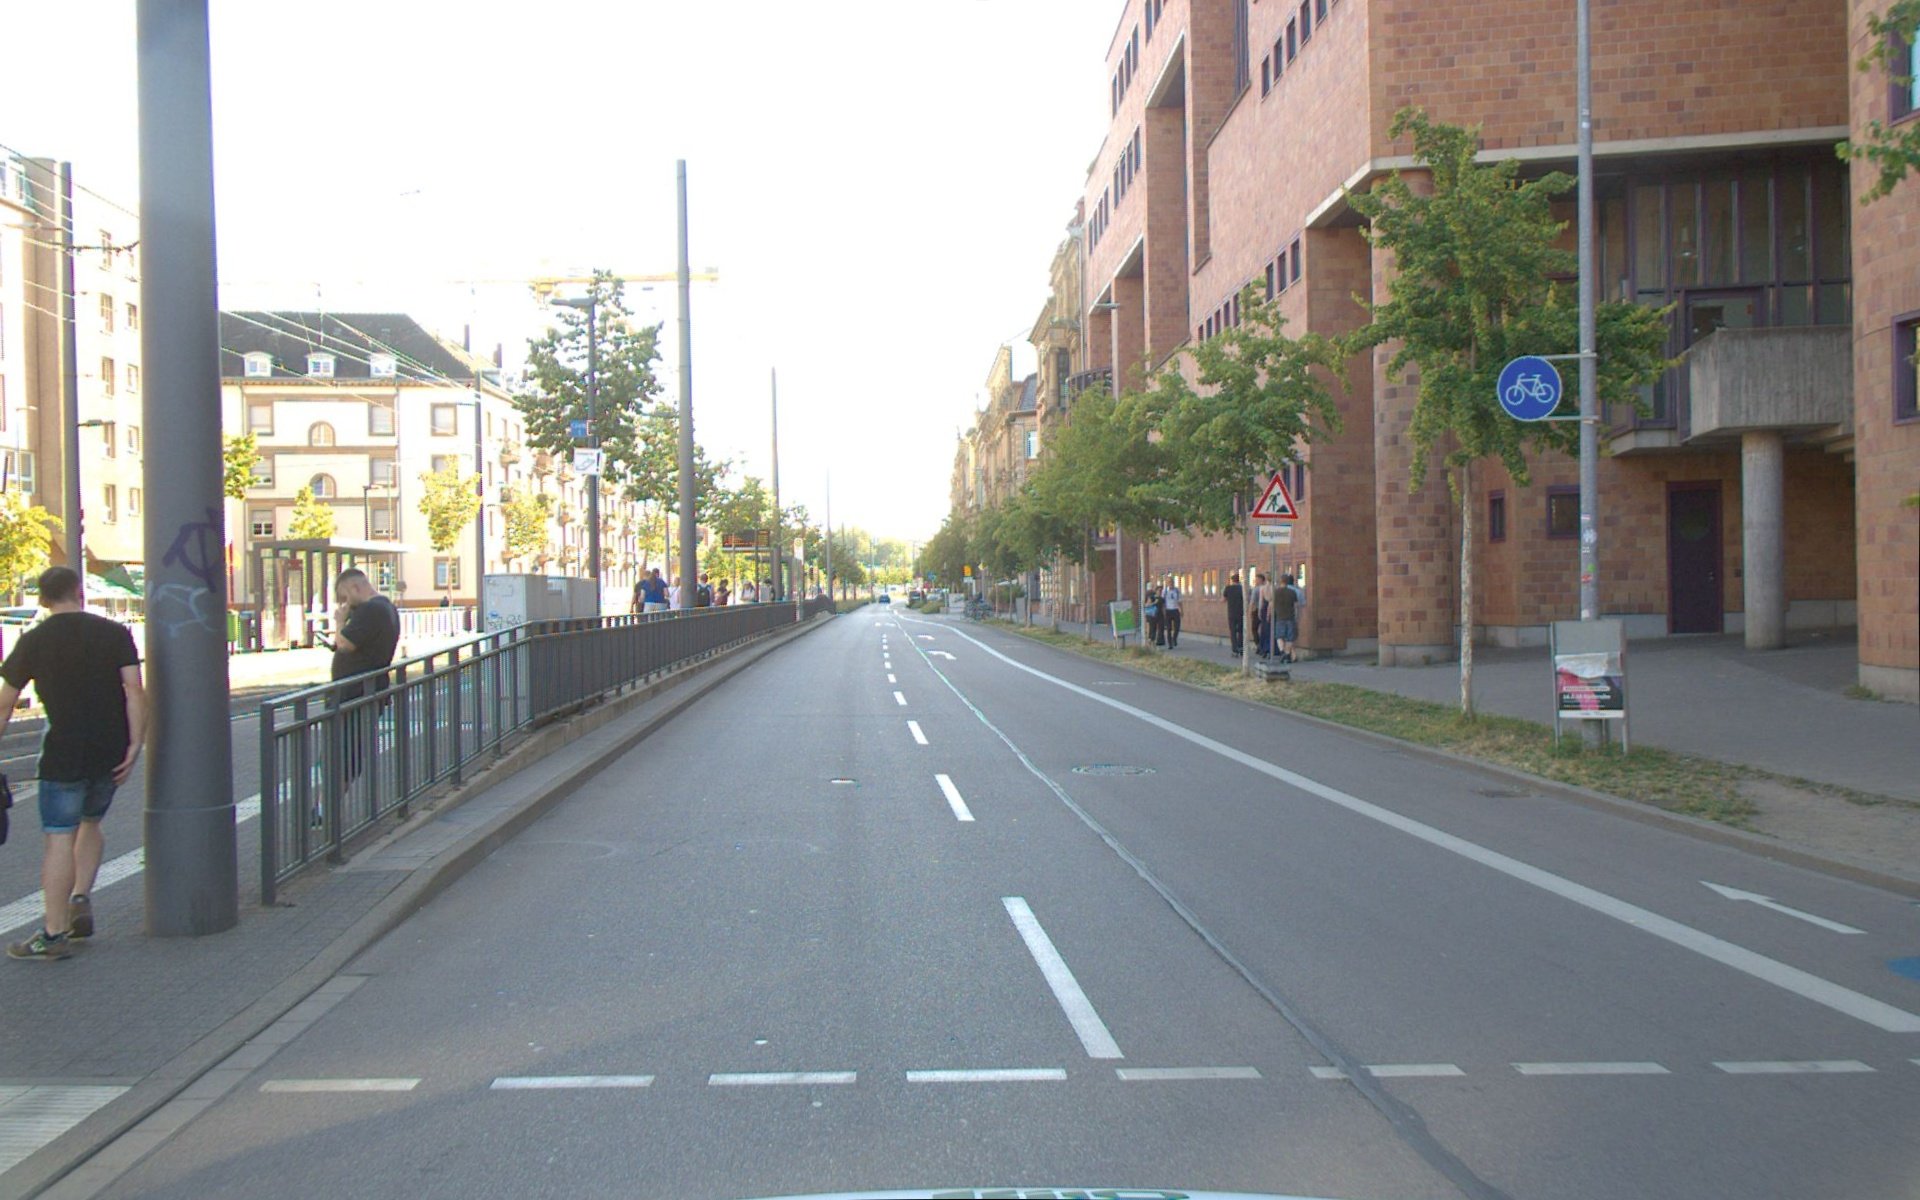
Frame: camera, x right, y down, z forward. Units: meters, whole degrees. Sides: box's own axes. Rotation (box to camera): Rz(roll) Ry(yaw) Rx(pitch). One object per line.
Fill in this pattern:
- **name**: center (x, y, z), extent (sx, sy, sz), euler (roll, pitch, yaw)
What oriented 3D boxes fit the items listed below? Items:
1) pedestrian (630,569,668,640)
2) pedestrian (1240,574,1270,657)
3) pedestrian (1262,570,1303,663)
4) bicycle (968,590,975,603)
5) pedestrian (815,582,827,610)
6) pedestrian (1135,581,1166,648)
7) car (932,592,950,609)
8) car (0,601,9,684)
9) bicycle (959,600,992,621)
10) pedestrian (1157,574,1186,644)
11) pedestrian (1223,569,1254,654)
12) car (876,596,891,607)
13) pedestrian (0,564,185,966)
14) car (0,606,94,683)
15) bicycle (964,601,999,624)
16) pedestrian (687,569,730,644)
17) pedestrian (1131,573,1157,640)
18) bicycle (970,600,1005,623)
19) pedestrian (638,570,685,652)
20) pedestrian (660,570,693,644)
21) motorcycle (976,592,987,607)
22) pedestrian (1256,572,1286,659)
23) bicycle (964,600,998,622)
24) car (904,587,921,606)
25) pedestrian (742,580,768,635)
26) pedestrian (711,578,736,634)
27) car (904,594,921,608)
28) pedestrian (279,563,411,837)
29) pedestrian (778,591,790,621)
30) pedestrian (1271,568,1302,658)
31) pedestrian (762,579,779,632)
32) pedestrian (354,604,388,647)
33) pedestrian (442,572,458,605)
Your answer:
- **pedestrian**: center (-6.732, 0.085, 35.842), extent (0.668, 1.509, 0.828), euler (-1, 0, -2)
- **pedestrian**: center (6.458, 0.333, 36.215), extent (0.525, 1.787, 0.421), euler (-1, 0, -3)
- **pedestrian**: center (6.320, 0.313, 32.465), extent (0.717, 1.787, 0.696), euler (-1, 0, 8)
- **bicycle**: center (1.304, -0.424, 183.953), extent (0.648, 1.427, 2.351), euler (-1, 1, -3)
- **pedestrian**: center (-8.469, -0.230, 100.763), extent (0.641, 1.671, 0.867), euler (-1, -1, -3)
- **pedestrian**: center (4.724, 0.348, 40.954), extent (0.508, 1.633, 0.702), euler (-1, 0, -16)
- **car**: center (-1.830, 0.055, 160.735), extent (1.604, 1.511, 4.212), euler (-3, 1, 0)
- **car**: center (-22.789, 1.037, 35.931), extent (1.848, 1.899, 4.314), euler (-1, 1, -3)
- **bicycle**: center (0.885, 0.596, 94.791), extent (1.791, 1.083, 0.662), euler (-4, 1, -8)
- **pedestrian**: center (5.329, 0.220, 41.669), extent (0.560, 1.743, 0.640), euler (-1, 0, -8)
- **pedestrian**: center (5.966, 0.241, 35.491), extent (0.526, 1.787, 0.464), euler (-1, 0, -4)
- **car**: center (-11.515, 0.193, 248.200), extent (1.760, 1.489, 4.002), euler (-1, 0, 4)
- **pedestrian**: center (-3.824, 0.648, 6.896), extent (0.698, 1.565, 0.852), euler (-1, 0, 6)
- **car**: center (-25.619, 1.180, 44.948), extent (1.847, 1.899, 4.316), euler (-1, 1, 0)
- **bicycle**: center (1.158, 0.677, 90.571), extent (1.791, 1.083, 0.662), euler (-4, 1, -8)
- **pedestrian**: center (-5.860, 0.149, 38.647), extent (0.870, 1.701, 1.095), euler (-1, 0, -4)
- **pedestrian**: center (4.964, 0.178, 44.591), extent (0.528, 1.787, 0.420), euler (-1, 0, -17)
- **bicycle**: center (1.546, 0.638, 91.963), extent (1.791, 1.083, 0.662), euler (-4, 1, -8)
- **pedestrian**: center (-6.307, 0.233, 34.978), extent (0.870, 1.701, 0.671), euler (-1, 0, -4)
- **pedestrian**: center (-6.652, 0.163, 38.811), extent (0.644, 1.701, 0.671), euler (-1, 0, -4)
- **motorcycle**: center (2.013, -0.040, 155.693), extent (0.779, 1.331, 2.851), euler (-3, 1, -3)
- **pedestrian**: center (6.467, 0.320, 34.419), extent (0.525, 1.787, 0.696), euler (-1, 0, 8)
- **bicycle**: center (1.165, 0.619, 93.330), extent (1.791, 1.083, 0.662), euler (-4, 1, -8)
- **car**: center (-5.070, -0.352, 176.806), extent (1.847, 1.971, 4.472), euler (0, 1, -1)
- **pedestrian**: center (-6.049, 0.229, 48.812), extent (0.659, 1.589, 0.906), euler (-1, 0, -3)
- **pedestrian**: center (-7.439, 0.188, 52.070), extent (0.705, 1.762, 0.651), euler (-1, 0, -3)
- **car**: center (-5.438, 0.078, 190.478), extent (1.812, 1.483, 4.156), euler (-1, 1, -1)
- **pedestrian**: center (-3.621, 0.573, 9.757), extent (0.479, 1.565, 0.552), euler (-1, 0, 12)
- **pedestrian**: center (-7.160, 0.239, 67.369), extent (0.399, 1.211, 0.428), euler (-1, 0, -15)
- **pedestrian**: center (6.540, 0.260, 33.185), extent (0.525, 1.787, 0.696), euler (-1, 0, 8)
- **pedestrian**: center (-6.238, 0.174, 54.502), extent (0.495, 1.708, 0.651), euler (-1, 0, -3)
- **pedestrian**: center (-16.894, 0.716, 47.476), extent (0.659, 1.210, 0.906), euler (-1, 0, -3)
- **pedestrian**: center (-32.390, -0.739, 105.004), extent (0.784, 2.048, 0.625), euler (-1, 1, -3)
